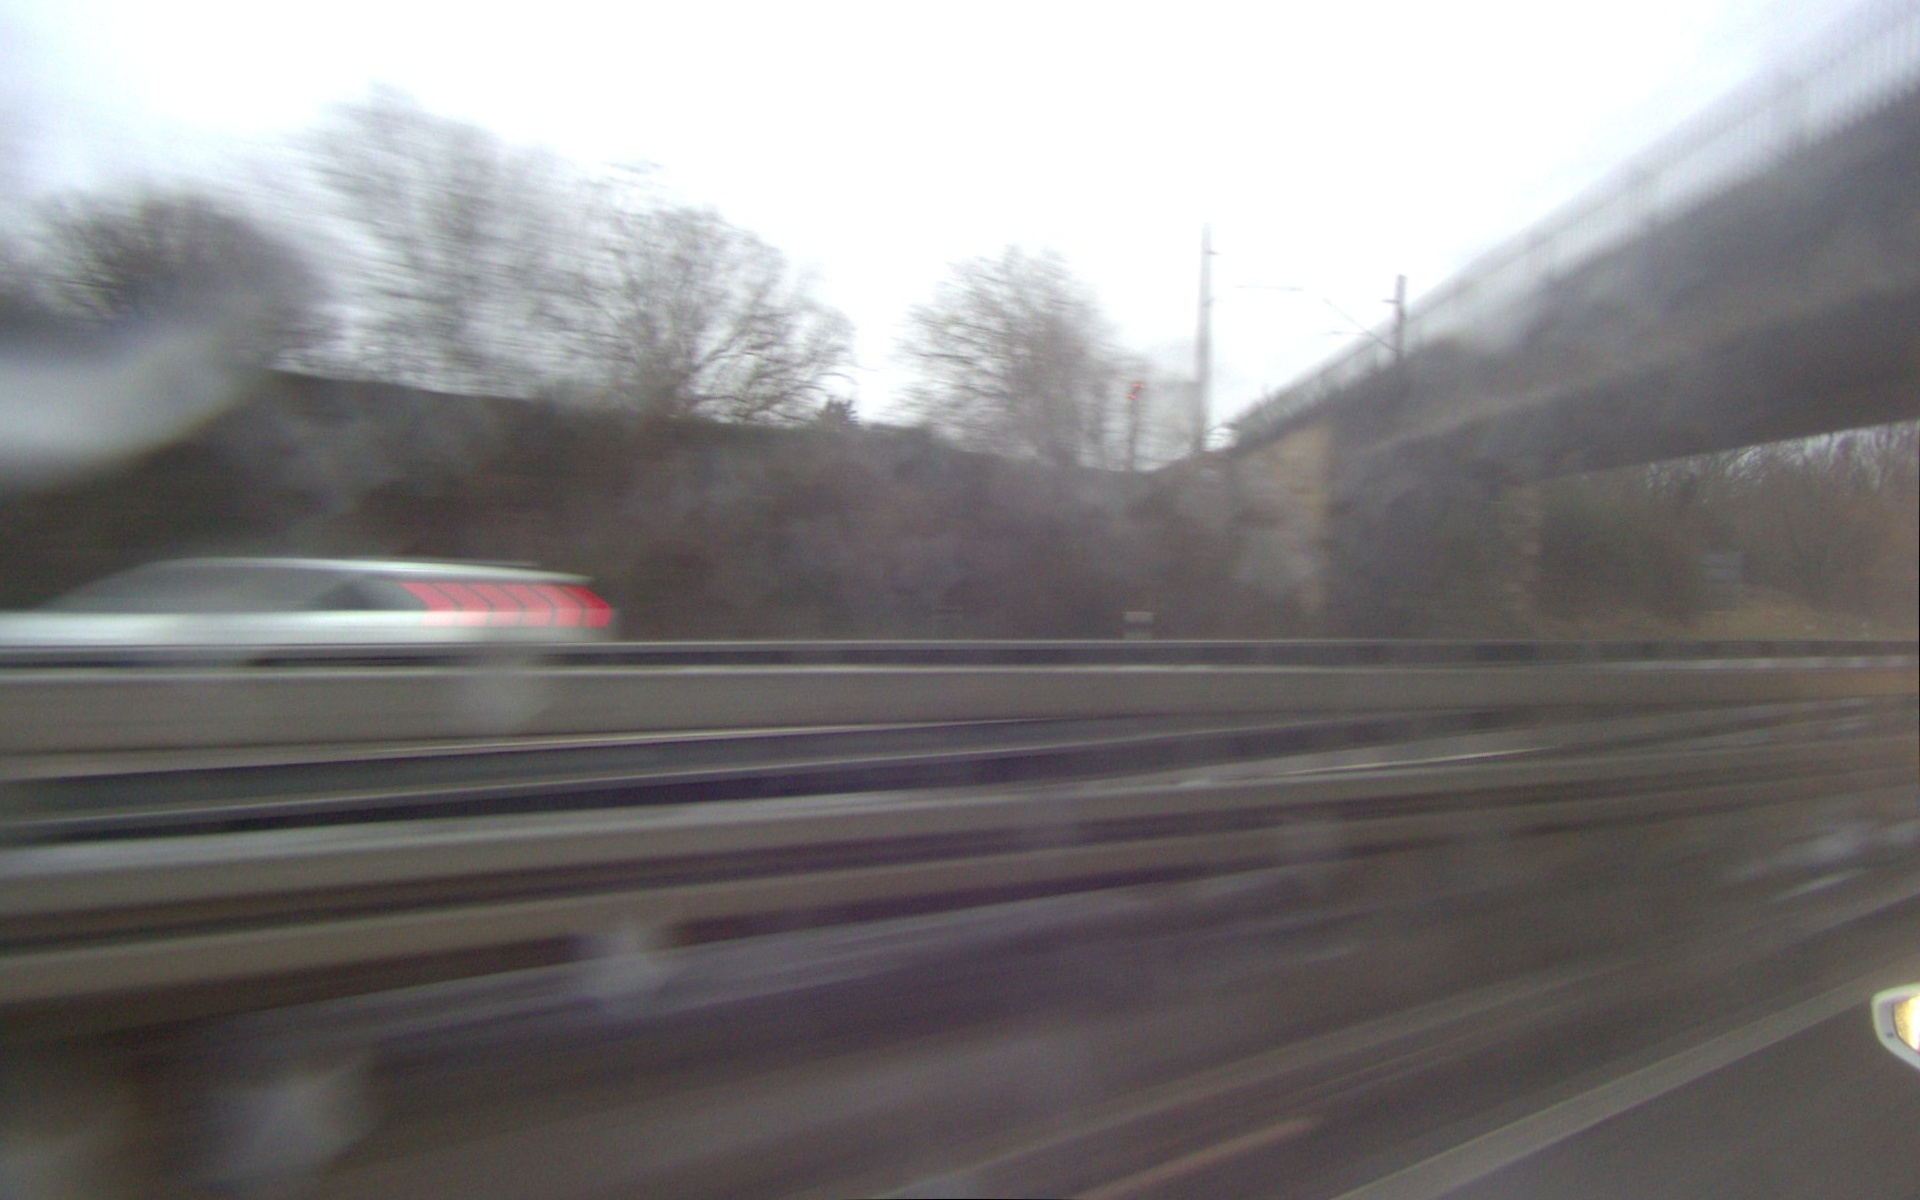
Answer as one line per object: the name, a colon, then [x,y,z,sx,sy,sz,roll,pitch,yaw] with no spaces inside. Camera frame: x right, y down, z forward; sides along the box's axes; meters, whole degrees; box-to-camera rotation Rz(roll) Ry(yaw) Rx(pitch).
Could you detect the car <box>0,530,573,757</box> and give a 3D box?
car: [-5.903,0.355,9.138,4.246,1.692,1.574,2,0,-30]
